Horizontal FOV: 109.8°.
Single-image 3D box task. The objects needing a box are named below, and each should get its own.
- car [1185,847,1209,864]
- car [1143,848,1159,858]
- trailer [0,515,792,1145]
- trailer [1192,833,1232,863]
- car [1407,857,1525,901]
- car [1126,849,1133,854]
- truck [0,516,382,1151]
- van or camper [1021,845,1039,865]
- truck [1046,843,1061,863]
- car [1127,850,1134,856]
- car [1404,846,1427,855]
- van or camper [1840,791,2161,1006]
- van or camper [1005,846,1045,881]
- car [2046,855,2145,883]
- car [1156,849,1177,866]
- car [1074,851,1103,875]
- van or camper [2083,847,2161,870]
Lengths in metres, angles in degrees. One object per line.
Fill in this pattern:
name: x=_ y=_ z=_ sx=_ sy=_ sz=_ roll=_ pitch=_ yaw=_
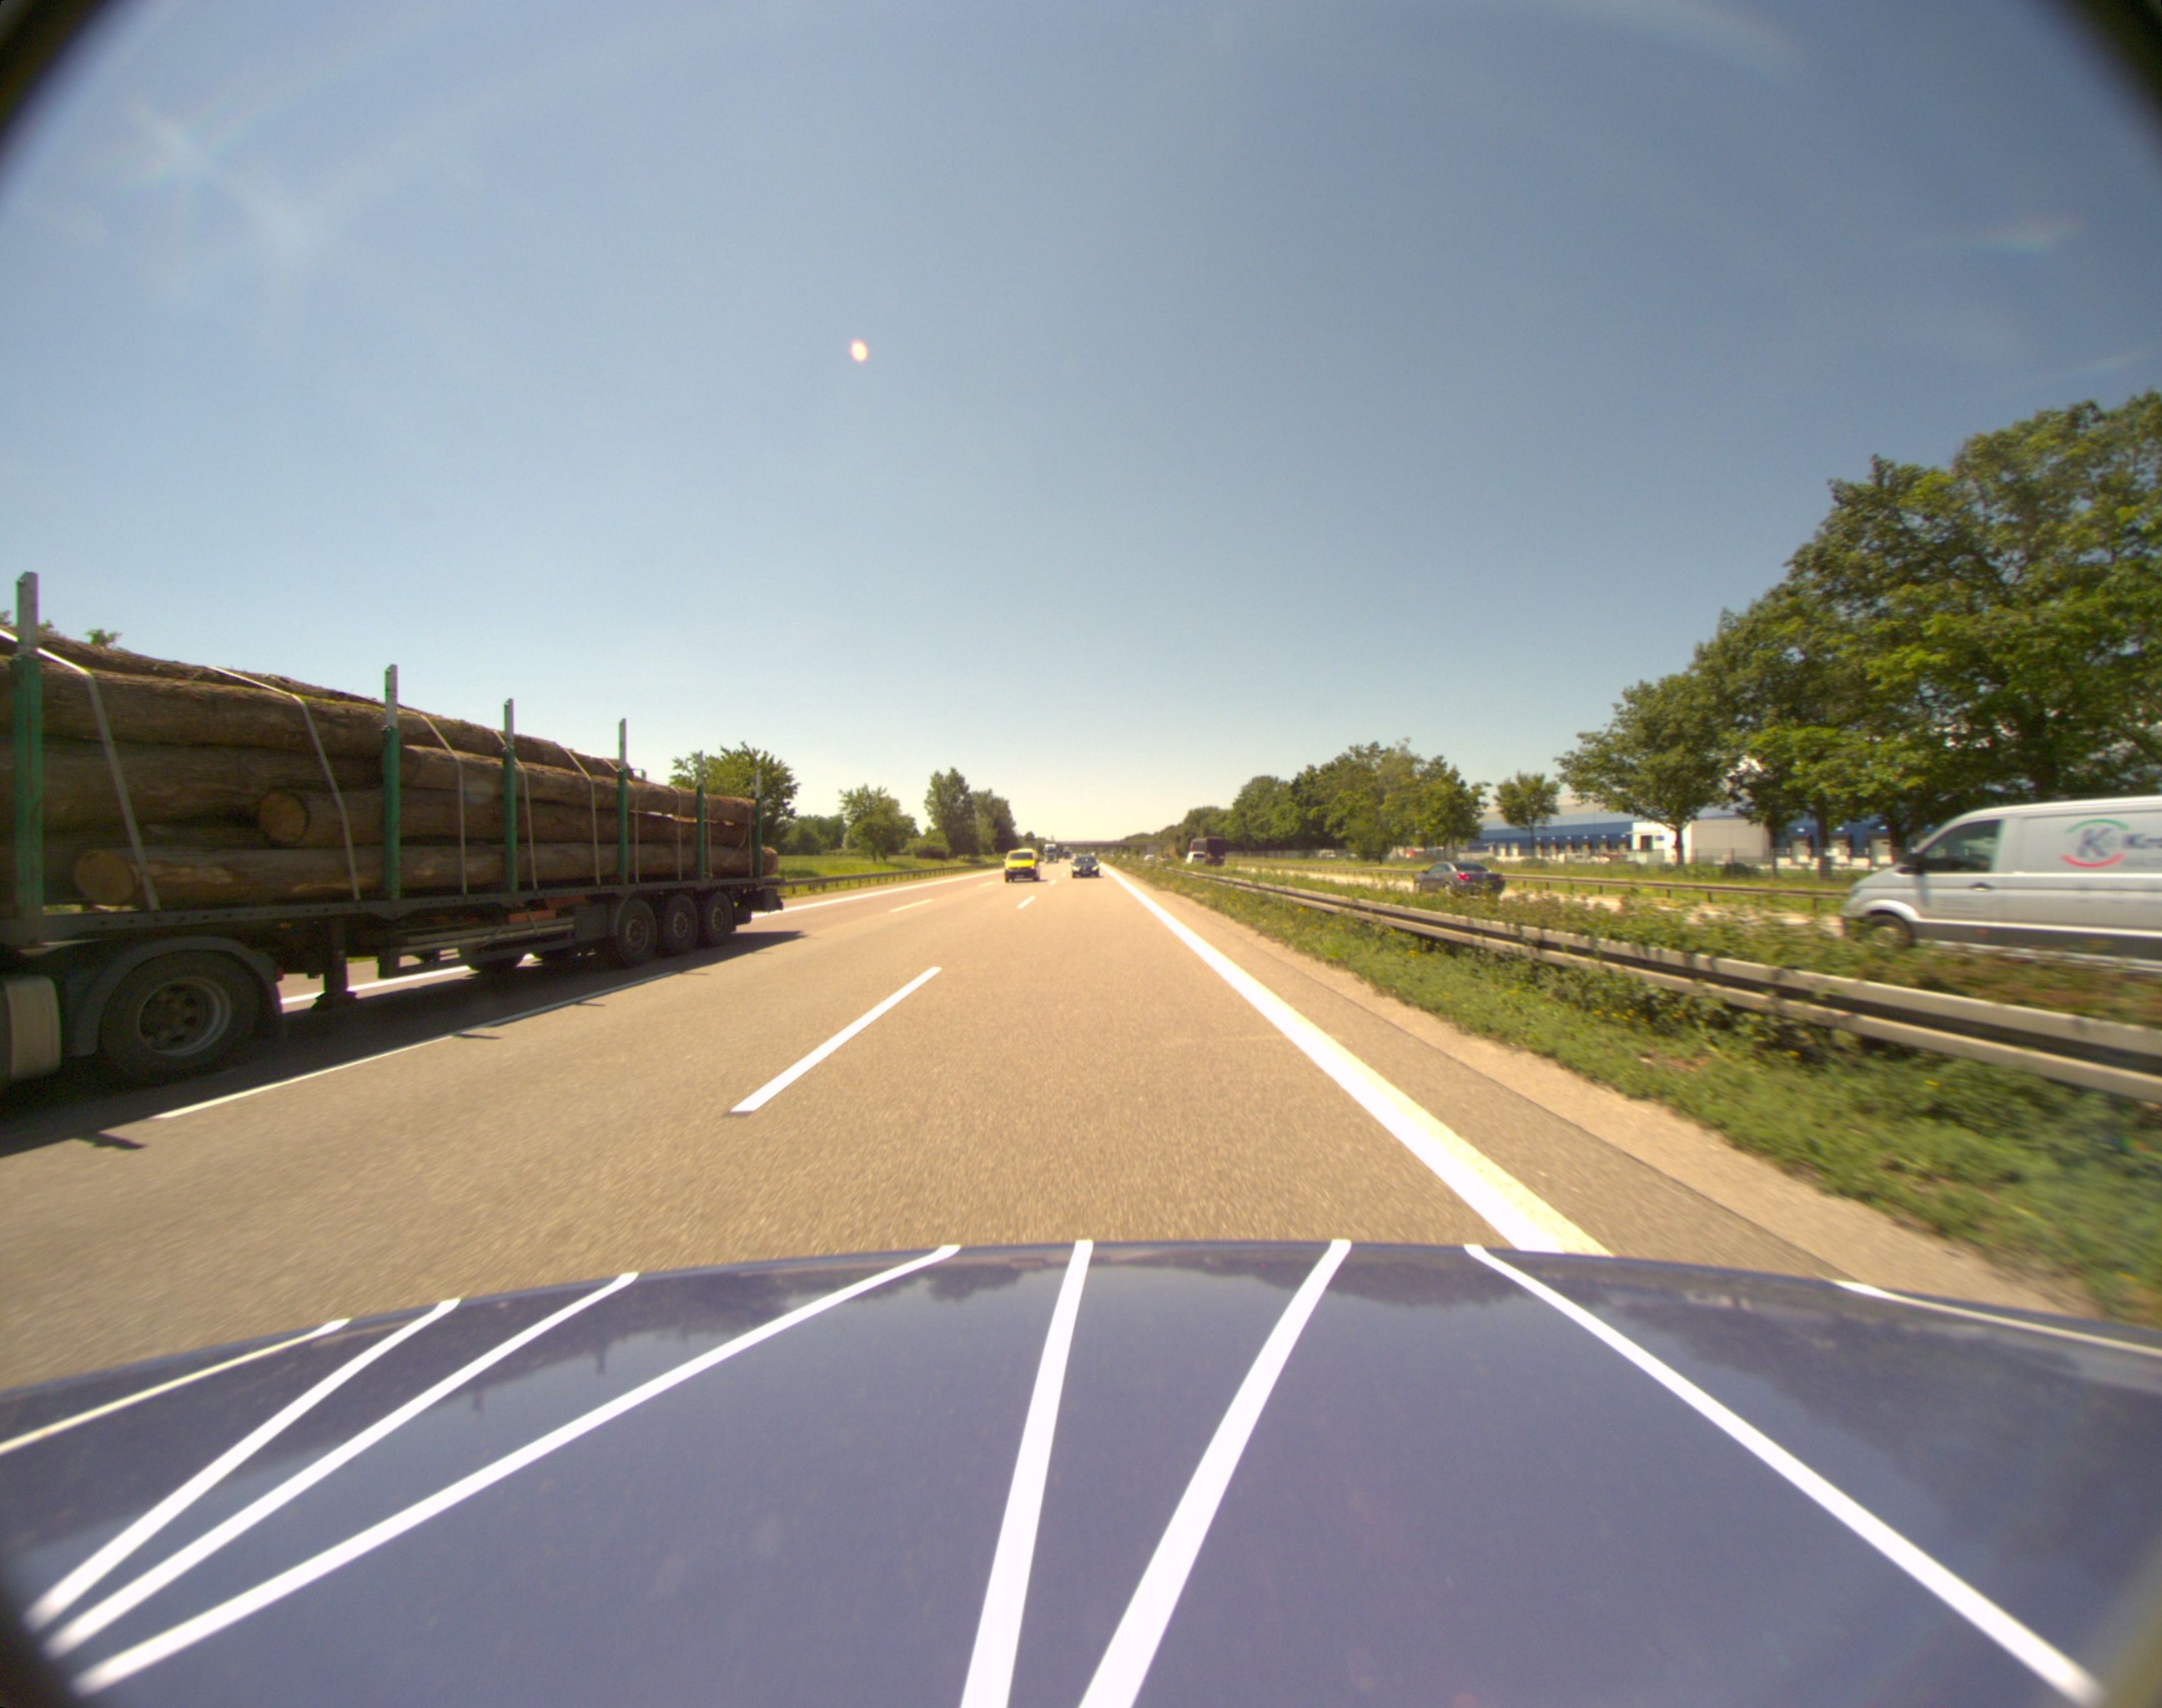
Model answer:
car: x=14.141 y=0.175 z=92.909 sx=2.000 sy=1.901 sz=5.211 roll=1 pitch=0 yaw=-1
car: x=10.970 y=-0.160 z=119.346 sx=1.925 sy=1.520 sz=4.867 roll=1 pitch=0 yaw=0
trailer: x=-7.994 y=-0.141 z=10.263 sx=2.660 sy=3.935 sz=13.636 roll=-2 pitch=0 yaw=1
trailer: x=18.679 y=-0.825 z=109.467 sx=3.456 sy=3.988 sz=14.203 roll=1 pitch=0 yaw=1
car: x=13.785 y=0.838 z=27.565 sx=1.862 sy=1.430 sz=4.597 roll=1 pitch=0 yaw=-1
car: x=16.570 y=-0.753 z=262.138 sx=1.999 sy=1.630 sz=4.858 roll=3 pitch=0 yaw=0
truck: x=-8.099 y=-0.098 z=3.891 sx=2.676 sy=3.971 sz=6.636 roll=-2 pitch=0 yaw=1
van or camper: x=-7.121 y=0.143 z=106.472 sx=2.119 sy=2.687 sz=6.366 roll=-2 pitch=0 yaw=0
truck: x=-5.878 y=-0.280 z=164.915 sx=2.806 sy=4.022 sz=13.352 roll=-3 pitch=0 yaw=0
car: x=14.386 y=-0.338 z=221.633 sx=1.850 sy=1.672 sz=4.814 roll=1 pitch=0 yaw=1
car: x=76.646 y=-0.894 z=174.132 sx=4.325 sy=2.002 sz=2.000 roll=1 pitch=0 yaw=3
van or camper: x=12.827 y=0.490 z=8.775 sx=2.063 sy=2.339 sz=6.075 roll=0 pitch=0 yaw=1
van or camper: x=-3.393 y=0.542 z=47.084 sx=1.957 sy=1.992 sz=5.077 roll=-1 pitch=0 yaw=1
car: x=75.822 y=1.110 z=56.889 sx=1.998 sy=2.002 sz=4.000 roll=0 pitch=0 yaw=1
car: x=10.236 y=0.418 z=91.087 sx=2.000 sy=1.901 sz=3.999 roll=1 pitch=0 yaw=-1
car: x=0.473 y=0.609 z=51.851 sx=1.894 sy=1.541 sz=4.038 roll=1 pitch=0 yaw=-1
van or camper: x=81.092 y=0.326 z=58.217 sx=1.998 sy=1.643 sz=5.020 roll=0 pitch=0 yaw=1
